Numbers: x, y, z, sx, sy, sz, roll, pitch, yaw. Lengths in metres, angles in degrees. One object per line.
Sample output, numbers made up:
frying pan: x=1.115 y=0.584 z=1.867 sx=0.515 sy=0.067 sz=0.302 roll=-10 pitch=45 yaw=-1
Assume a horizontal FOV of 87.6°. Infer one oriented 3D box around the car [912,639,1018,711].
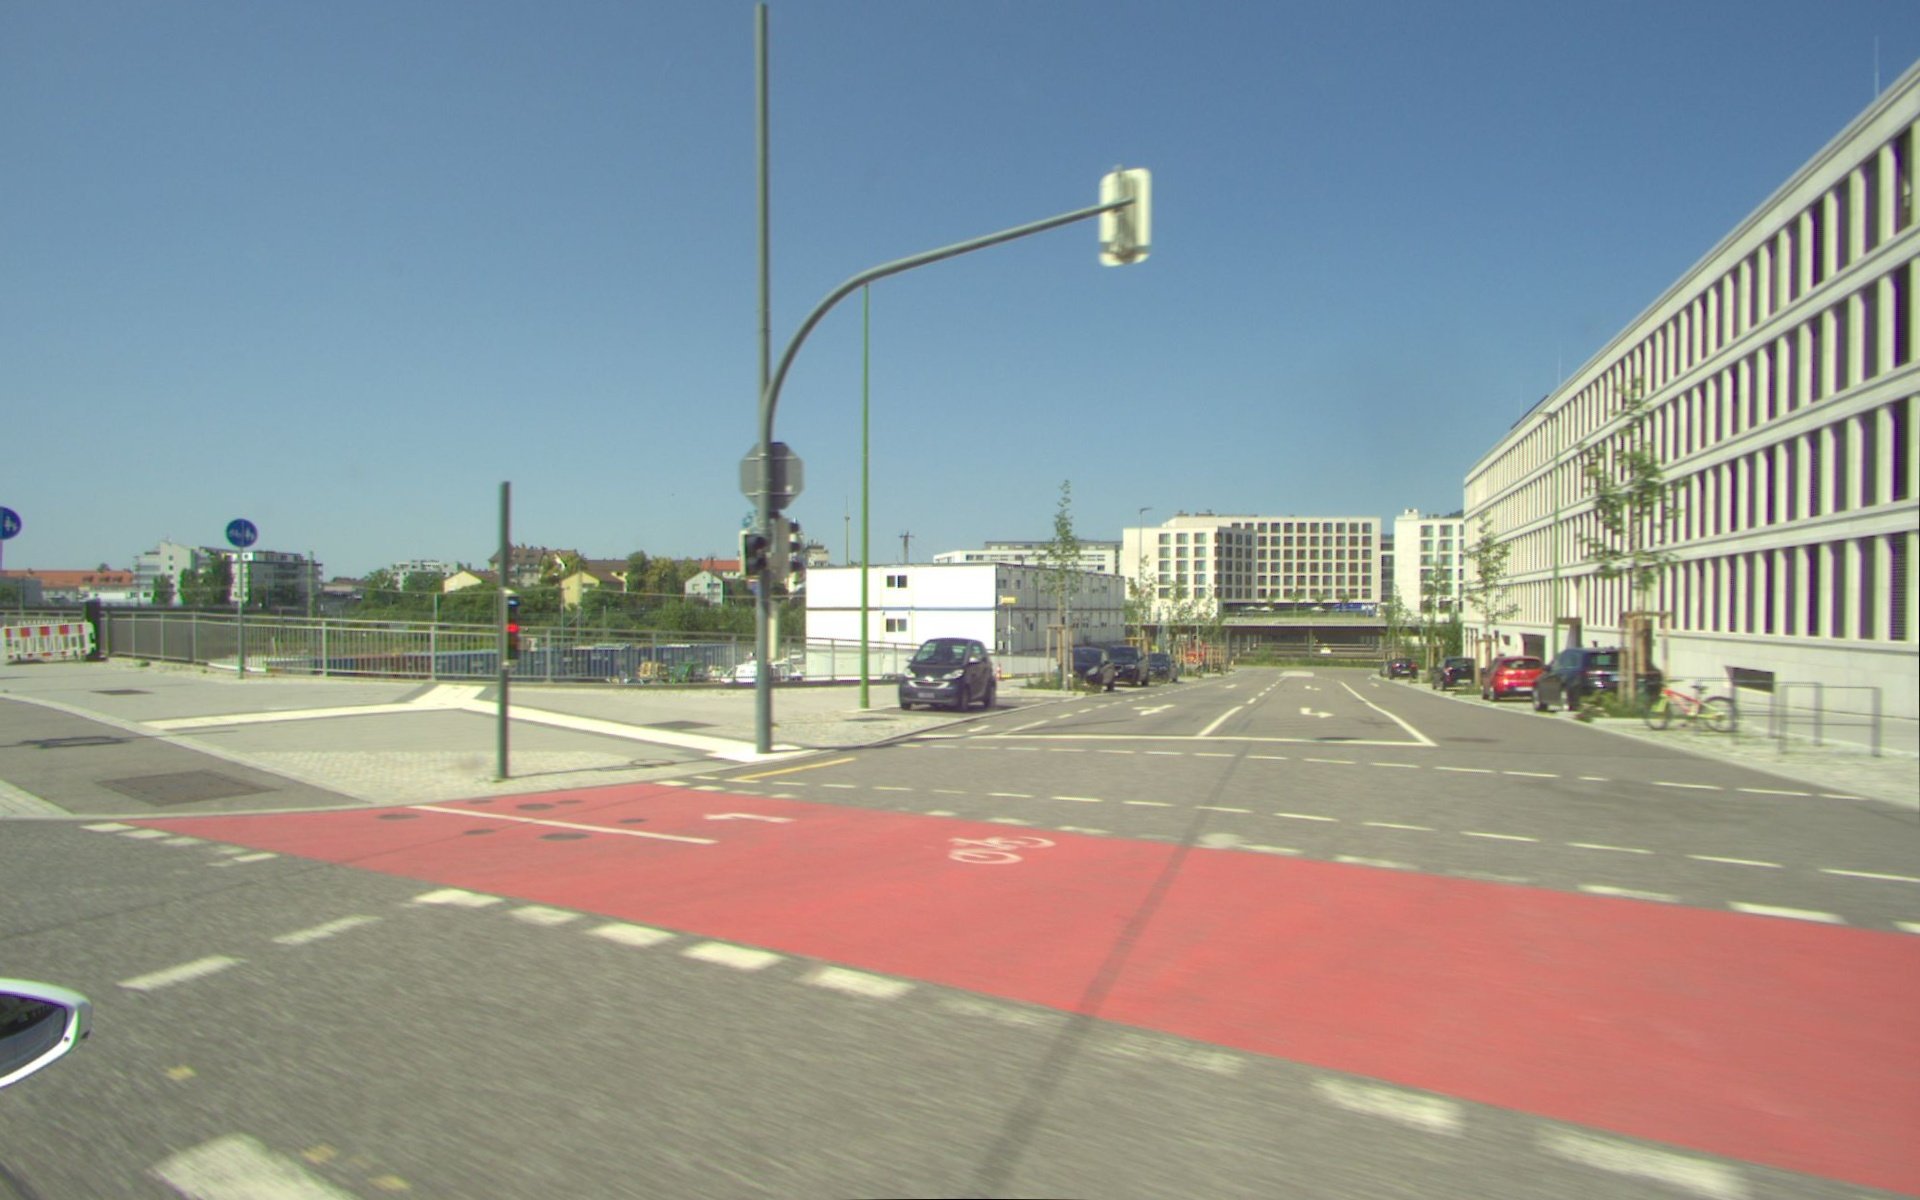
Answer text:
car: x=0.038 y=1.635 z=22.512 sx=1.433 sy=1.482 sz=3.364 roll=1 pitch=-3 yaw=-18
